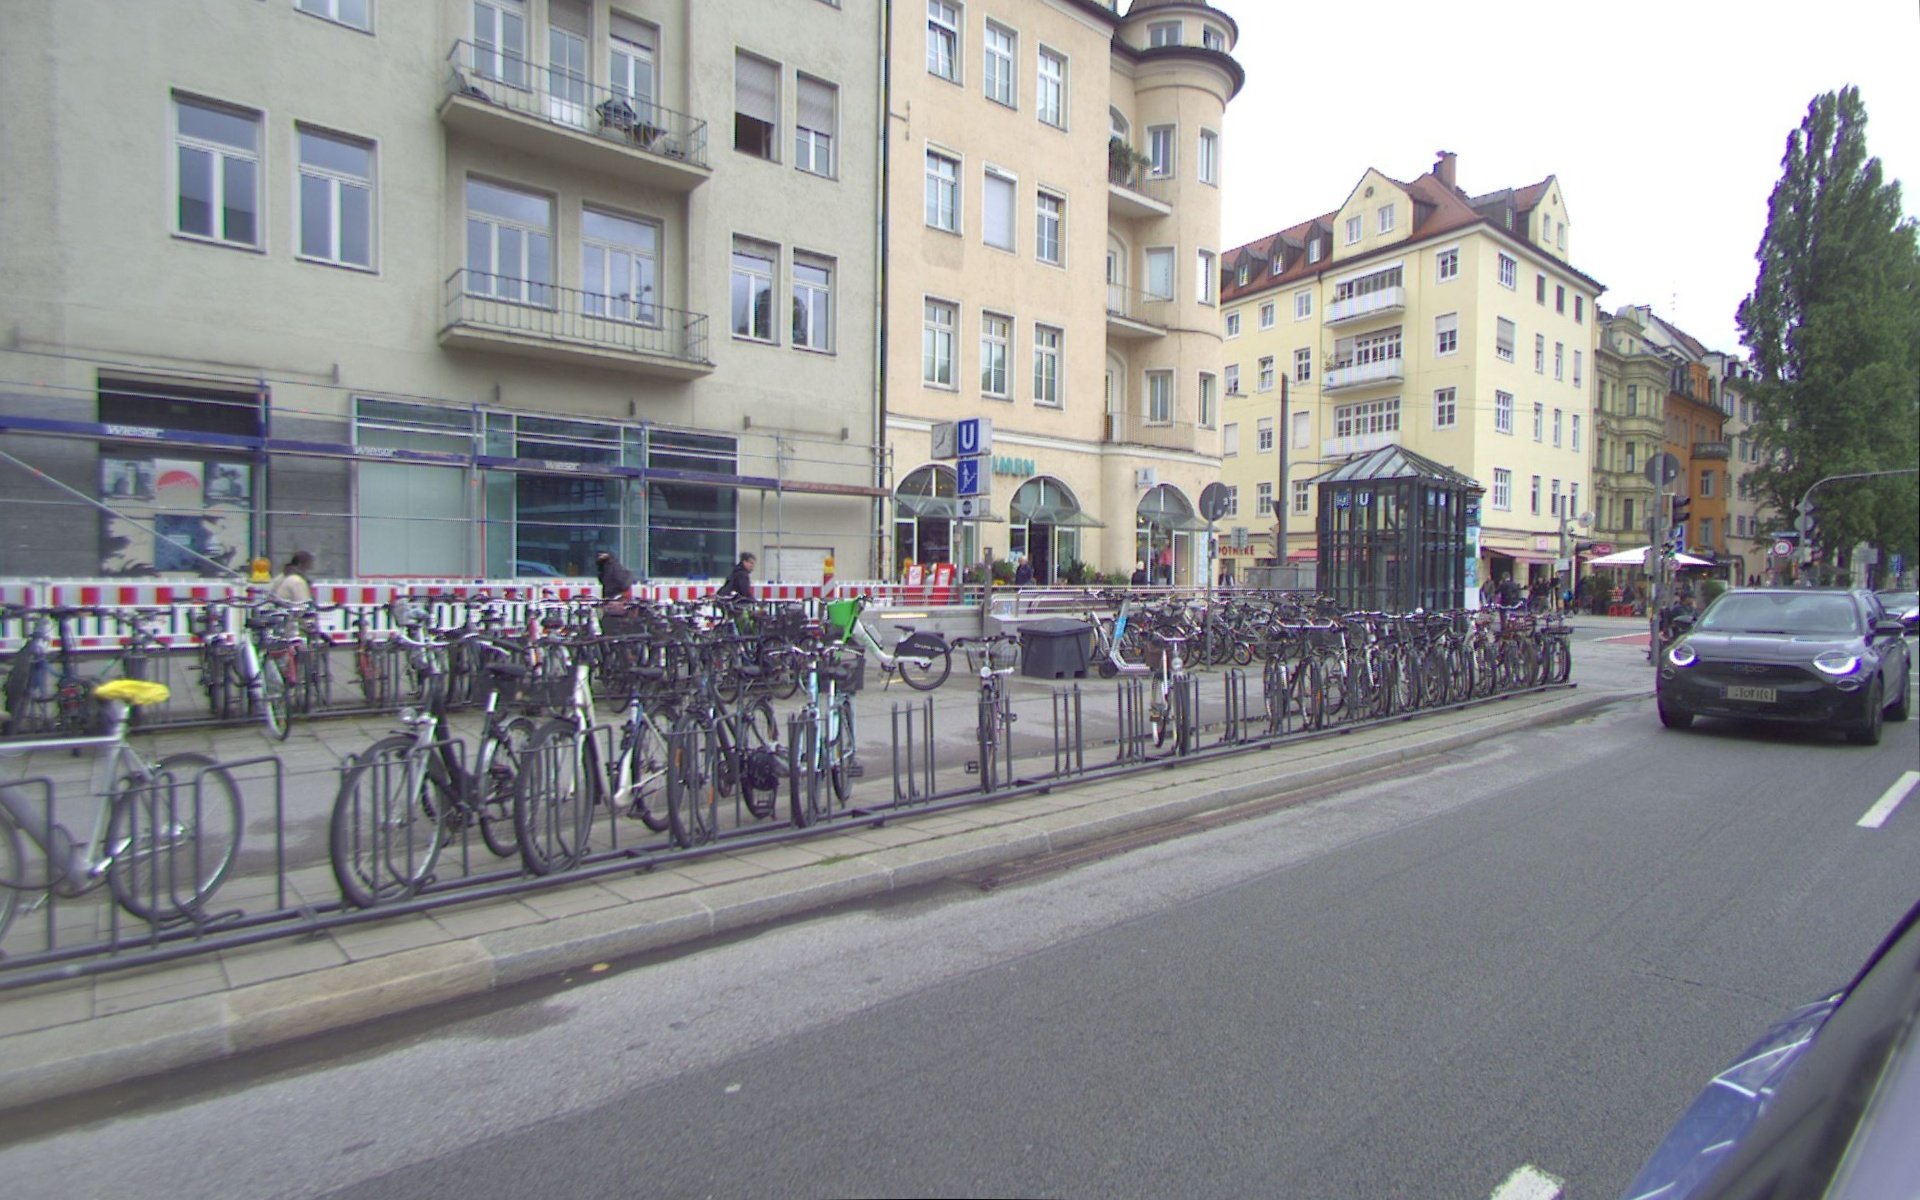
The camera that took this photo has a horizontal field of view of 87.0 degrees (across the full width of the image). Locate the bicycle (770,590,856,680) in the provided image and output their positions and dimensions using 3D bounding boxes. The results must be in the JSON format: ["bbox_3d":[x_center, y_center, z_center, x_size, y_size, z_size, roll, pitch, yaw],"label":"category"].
[{"bbox_3d":[-2.031,0.437,13.803,0.402,1.091,1.651,-1,3,-37],"label":"bicycle"}]

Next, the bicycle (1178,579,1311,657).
[{"bbox_3d":[4.955,0.279,17.782,0.617,1.242,2.331,0,2,-37],"label":"bicycle"}]

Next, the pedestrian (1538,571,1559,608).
[{"bbox_3d":[27.238,-0.480,46.836,0.681,1.687,0.614,2,2,40],"label":"pedestrian"}]

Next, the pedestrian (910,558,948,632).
[{"bbox_3d":[-0.664,-0.117,21.743,0.580,1.560,0.566,-2,3,-41],"label":"pedestrian"}]

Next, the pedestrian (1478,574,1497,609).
[{"bbox_3d":[23.662,-0.381,45.378,0.575,1.545,0.528,0,2,-39],"label":"pedestrian"}]

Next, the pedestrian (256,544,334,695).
[{"bbox_3d":[-7.331,0.197,11.155,0.658,1.602,0.530,2,1,36],"label":"pedestrian"}]

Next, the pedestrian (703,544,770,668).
[{"bbox_3d":[-3.212,0.075,14.601,0.728,1.729,0.703,1,1,9],"label":"pedestrian"}]

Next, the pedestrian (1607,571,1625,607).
[{"bbox_3d":[31.479,-0.530,48.569,0.575,1.705,0.552,0,2,-39],"label":"pedestrian"}]

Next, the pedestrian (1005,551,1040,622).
[{"bbox_3d":[1.565,-0.353,25.347,0.634,1.759,0.617,-2,3,-41],"label":"pedestrian"}]

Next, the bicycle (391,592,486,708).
[{"bbox_3d":[-5.491,0.489,10.625,1.447,1.091,0.404,3,3,42],"label":"bicycle"}]

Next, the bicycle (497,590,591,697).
[{"bbox_3d":[-4.767,0.463,11.560,1.447,1.091,0.404,3,3,42],"label":"bicycle"}]

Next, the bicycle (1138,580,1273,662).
[{"bbox_3d":[4.091,0.313,17.086,0.617,1.242,2.344,0,2,-37],"label":"bicycle"}]

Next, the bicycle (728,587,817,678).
[{"bbox_3d":[-2.495,0.399,13.390,0.403,1.091,1.449,-1,3,-44],"label":"bicycle"}]

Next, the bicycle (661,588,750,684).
[{"bbox_3d":[-3.211,0.421,12.684,0.403,1.091,1.449,-1,3,-44],"label":"bicycle"}]

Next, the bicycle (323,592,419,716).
[{"bbox_3d":[-5.904,0.503,10.114,1.530,1.091,0.404,3,3,43],"label":"bicycle"}]

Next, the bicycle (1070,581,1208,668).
[{"bbox_3d":[2.797,0.339,16.107,0.617,1.242,2.344,0,2,-37],"label":"bicycle"}]

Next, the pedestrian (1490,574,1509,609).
[{"bbox_3d":[23.995,-0.380,44.996,0.575,1.545,0.528,0,2,-39],"label":"pedestrian"}]

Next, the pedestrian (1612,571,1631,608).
[{"bbox_3d":[31.184,-0.509,47.716,0.575,1.705,0.552,0,2,-39],"label":"pedestrian"}]

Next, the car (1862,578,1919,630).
[{"bbox_3d":[32.074,0.086,34.194,3.930,1.644,1.853,-2,1,-40],"label":"car"}]

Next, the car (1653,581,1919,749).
[{"bbox_3d":[9.144,0.549,10.975,3.980,1.488,1.739,-1,1,-41],"label":"car"}]

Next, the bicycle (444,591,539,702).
[{"bbox_3d":[-5.143,0.476,11.068,1.447,1.091,0.404,3,3,42],"label":"bicycle"}]

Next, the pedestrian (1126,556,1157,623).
[{"bbox_3d":[4.746,-0.298,26.504,0.580,1.721,0.566,-2,3,-41],"label":"pedestrian"}]

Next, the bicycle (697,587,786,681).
[{"bbox_3d":[-2.828,0.410,13.043,0.403,1.091,1.449,-1,3,-44],"label":"bicycle"}]

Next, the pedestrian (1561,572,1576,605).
[{"bbox_3d":[28.998,-0.539,48.223,0.526,1.545,0.577,2,2,39],"label":"pedestrian"}]

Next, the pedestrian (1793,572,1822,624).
[{"bbox_3d":[30.482,-0.071,36.400,0.729,1.823,0.700,2,3,41],"label":"pedestrian"}]

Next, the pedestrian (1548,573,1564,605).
[{"bbox_3d":[28.607,-0.539,48.568,0.526,1.545,0.577,2,2,39],"label":"pedestrian"}]

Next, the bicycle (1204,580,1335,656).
[{"bbox_3d":[5.533,0.282,18.248,0.617,1.242,2.319,0,2,-37],"label":"bicycle"}]

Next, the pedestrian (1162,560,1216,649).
[{"bbox_3d":[4.536,0.067,20.056,0.804,1.713,0.747,2,1,36],"label":"pedestrian"}]

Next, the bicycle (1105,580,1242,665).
[{"bbox_3d":[3.421,0.324,16.453,0.617,1.242,2.319,0,2,-37],"label":"bicycle"}]

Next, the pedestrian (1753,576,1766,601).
[{"bbox_3d":[54.218,-0.783,68.598,0.575,1.705,0.552,0,2,-39],"label":"pedestrian"}]

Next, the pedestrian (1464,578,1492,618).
[{"bbox_3d":[20.900,-0.105,40.837,0.817,1.586,0.714,-1,1,-40],"label":"pedestrian"}]

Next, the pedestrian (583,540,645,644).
[{"bbox_3d":[-5.672,-0.141,16.599,0.819,1.652,0.564,0,2,-37],"label":"pedestrian"}]

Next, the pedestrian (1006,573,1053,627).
[{"bbox_3d":[1.667,-0.010,24.380,0.903,1.260,0.700,-2,3,-41],"label":"pedestrian"}]

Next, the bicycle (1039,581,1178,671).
[{"bbox_3d":[2.260,0.353,15.710,0.617,1.242,2.369,0,2,-37],"label":"bicycle"}]

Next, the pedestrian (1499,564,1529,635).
[{"bbox_3d":[14.330,-0.018,26.174,0.634,1.799,0.605,1,1,27],"label":"pedestrian"}]

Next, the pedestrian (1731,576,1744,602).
[{"bbox_3d":[52.641,-0.761,68.555,0.575,1.705,0.552,0,2,-39],"label":"pedestrian"}]

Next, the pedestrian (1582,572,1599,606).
[{"bbox_3d":[32.398,-0.578,52.015,0.575,1.705,0.552,0,2,-39],"label":"pedestrian"}]

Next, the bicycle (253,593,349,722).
[{"bbox_3d":[-6.364,0.516,9.747,1.530,1.091,0.404,3,3,43],"label":"bicycle"}]

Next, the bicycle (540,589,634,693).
[{"bbox_3d":[-4.397,0.452,11.874,1.447,1.091,0.404,3,3,42],"label":"bicycle"}]
